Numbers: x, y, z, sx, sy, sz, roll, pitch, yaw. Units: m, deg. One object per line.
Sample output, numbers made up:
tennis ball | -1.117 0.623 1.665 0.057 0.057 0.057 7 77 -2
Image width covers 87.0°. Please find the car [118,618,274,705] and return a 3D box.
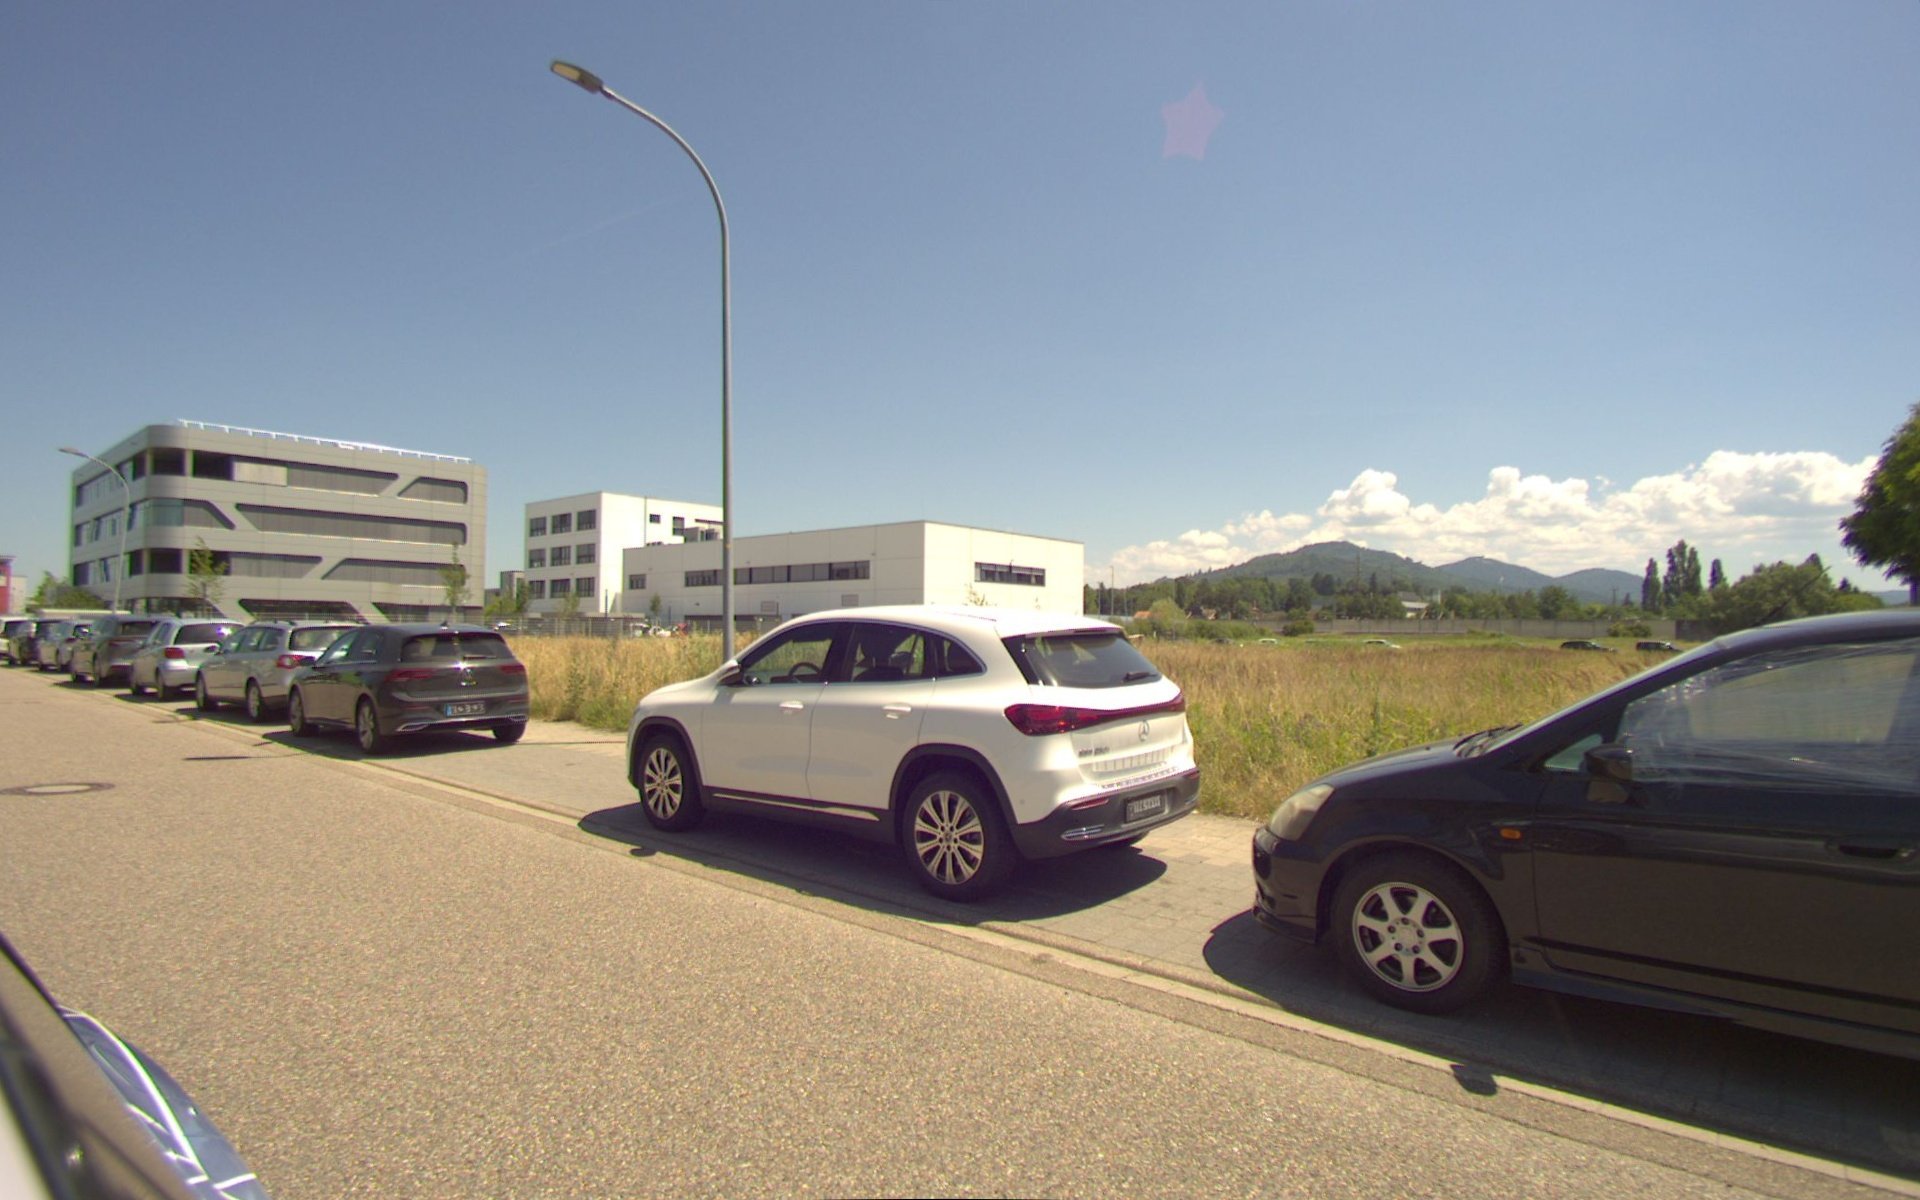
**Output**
car | -15.014 1.126 19.825 3.733 1.537 1.676 -1 -1 41

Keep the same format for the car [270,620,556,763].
car | -6.993 1.015 12.763 4.227 1.492 1.837 -1 -1 41

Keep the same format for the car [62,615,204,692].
car | -19.103 1.170 23.317 4.460 1.619 1.772 -1 -1 41

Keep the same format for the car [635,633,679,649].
car | -30.428 4.158 101.650 1.917 1.597 3.953 -1 -3 34

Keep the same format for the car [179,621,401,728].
car | -10.932 1.091 16.366 4.812 1.492 1.757 -1 -1 41

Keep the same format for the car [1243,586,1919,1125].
car | 3.478 0.749 3.520 4.498 1.568 1.751 -1 -1 40

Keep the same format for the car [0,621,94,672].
car | -29.361 1.447 32.493 4.377 1.529 1.745 -1 -1 41

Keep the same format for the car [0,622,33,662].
car | -38.798 1.674 40.807 4.364 1.554 1.767 -2 -2 43

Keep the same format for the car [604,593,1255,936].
car | -0.446 0.806 6.828 4.357 1.604 1.751 -1 -1 40

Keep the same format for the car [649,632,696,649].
car | -27.756 3.937 97.680 1.921 1.597 3.945 -2 -4 41

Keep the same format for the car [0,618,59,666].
car | -35.027 1.535 37.609 3.766 1.669 1.769 -1 -2 40

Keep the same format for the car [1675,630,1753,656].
car | 61.300 3.449 82.295 4.918 2.029 1.973 -1 -3 41

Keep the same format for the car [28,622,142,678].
car | -25.082 1.387 28.969 4.195 1.462 1.746 -1 -1 39
